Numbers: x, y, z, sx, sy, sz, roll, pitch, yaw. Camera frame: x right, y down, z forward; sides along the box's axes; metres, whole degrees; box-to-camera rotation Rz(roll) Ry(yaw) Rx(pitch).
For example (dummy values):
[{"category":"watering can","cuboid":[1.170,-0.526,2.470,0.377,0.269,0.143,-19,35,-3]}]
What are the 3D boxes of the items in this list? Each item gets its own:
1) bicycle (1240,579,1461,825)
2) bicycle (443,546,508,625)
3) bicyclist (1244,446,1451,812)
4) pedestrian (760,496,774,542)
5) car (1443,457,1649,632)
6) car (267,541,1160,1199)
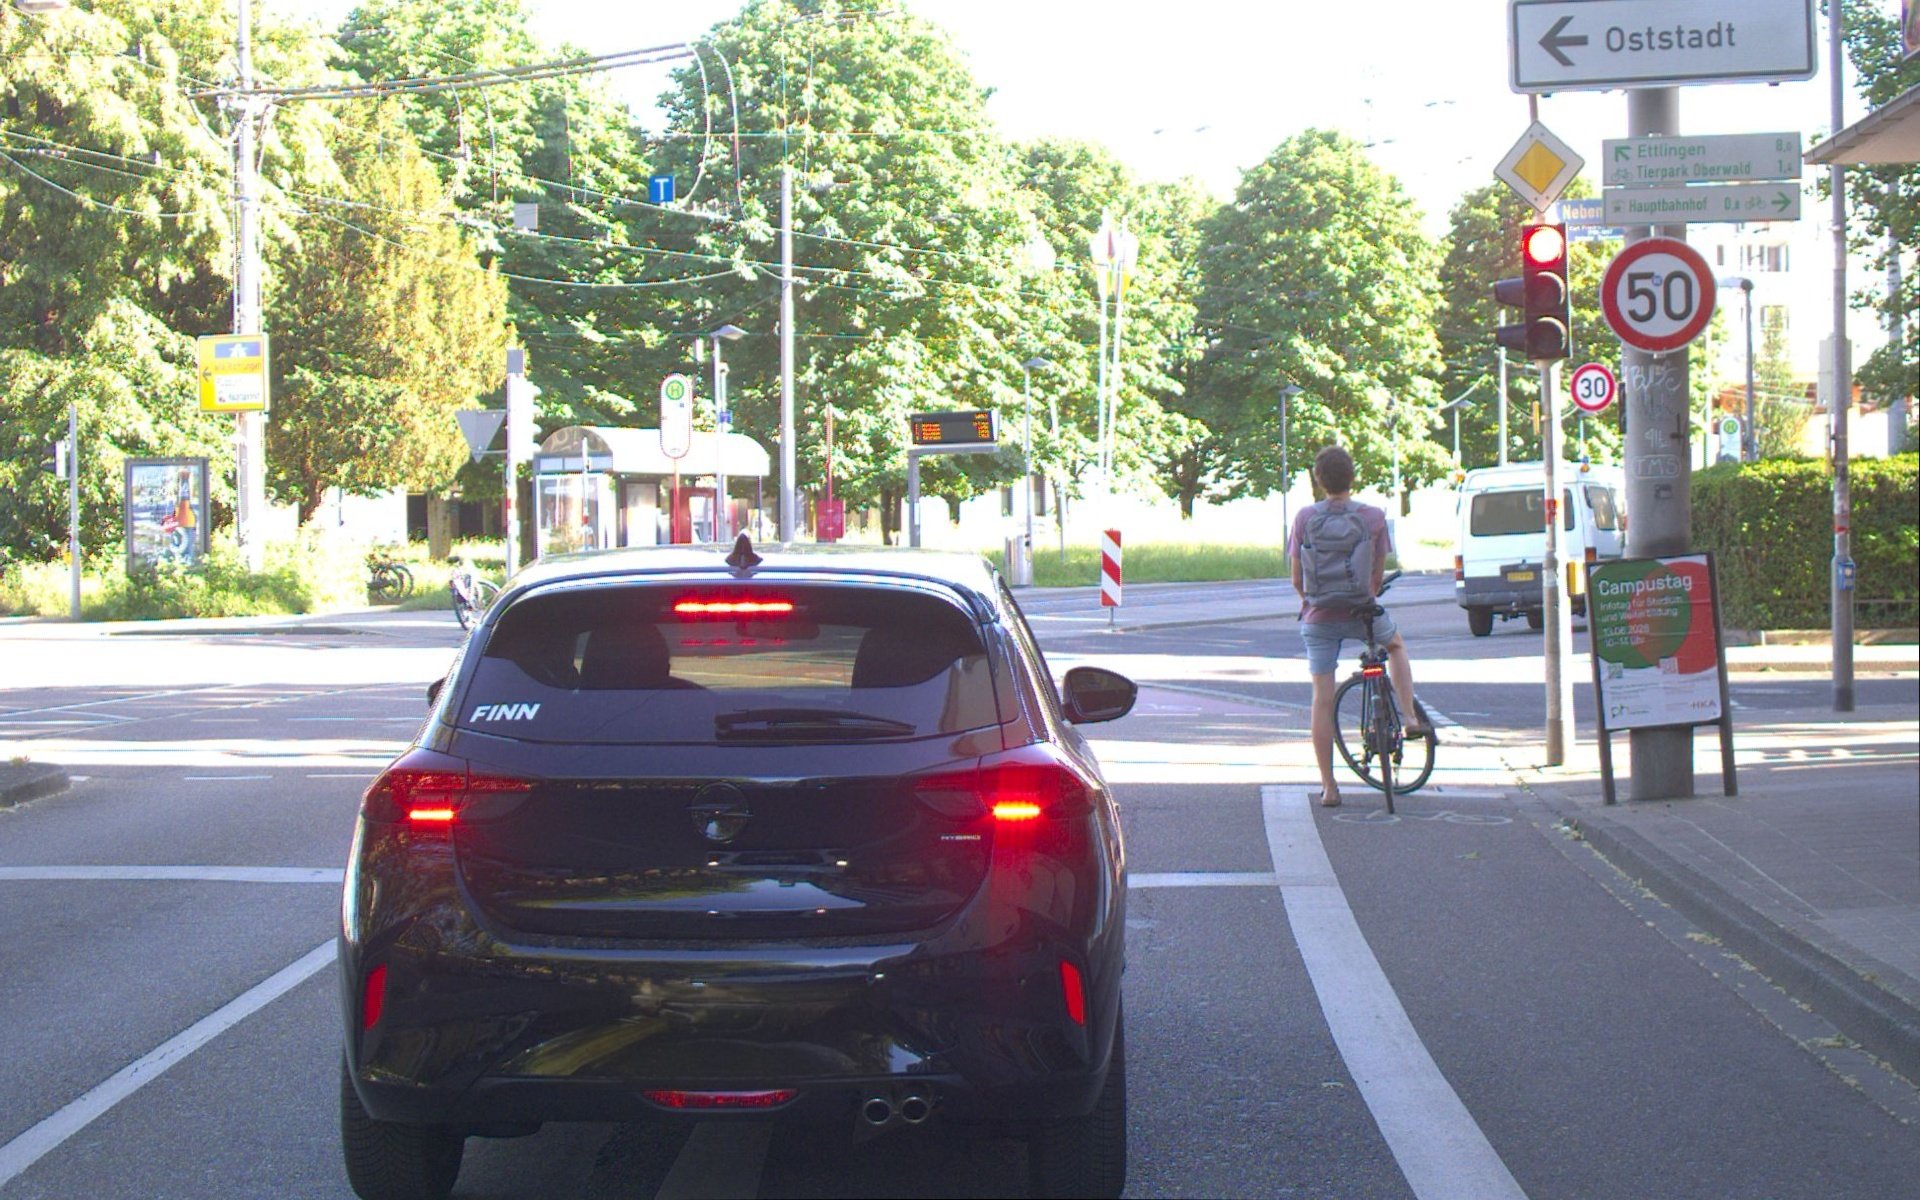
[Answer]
[{"category":"bicycle","cuboid":[2.003,0.494,17.935,0.860,1.149,2.172,-1,1,-1]},{"category":"bicycle","cuboid":[-6.545,-0.208,46.485,0.605,1.028,1.982,0,1,-1]},{"category":"bicyclist","cuboid":[2.005,0.139,17.887,0.941,1.845,0.864,-1,1,-1]},{"category":"pedestrian","cuboid":[-6.003,-2.529,107.016,0.412,1.408,0.436,1,0,-3]},{"category":"car","cuboid":[7.981,-0.773,46.465,2.065,2.241,4.883,0,1,18]},{"category":"car","cuboid":[-0.494,0.576,8.773,1.727,1.424,4.187,0,1,0]}]
